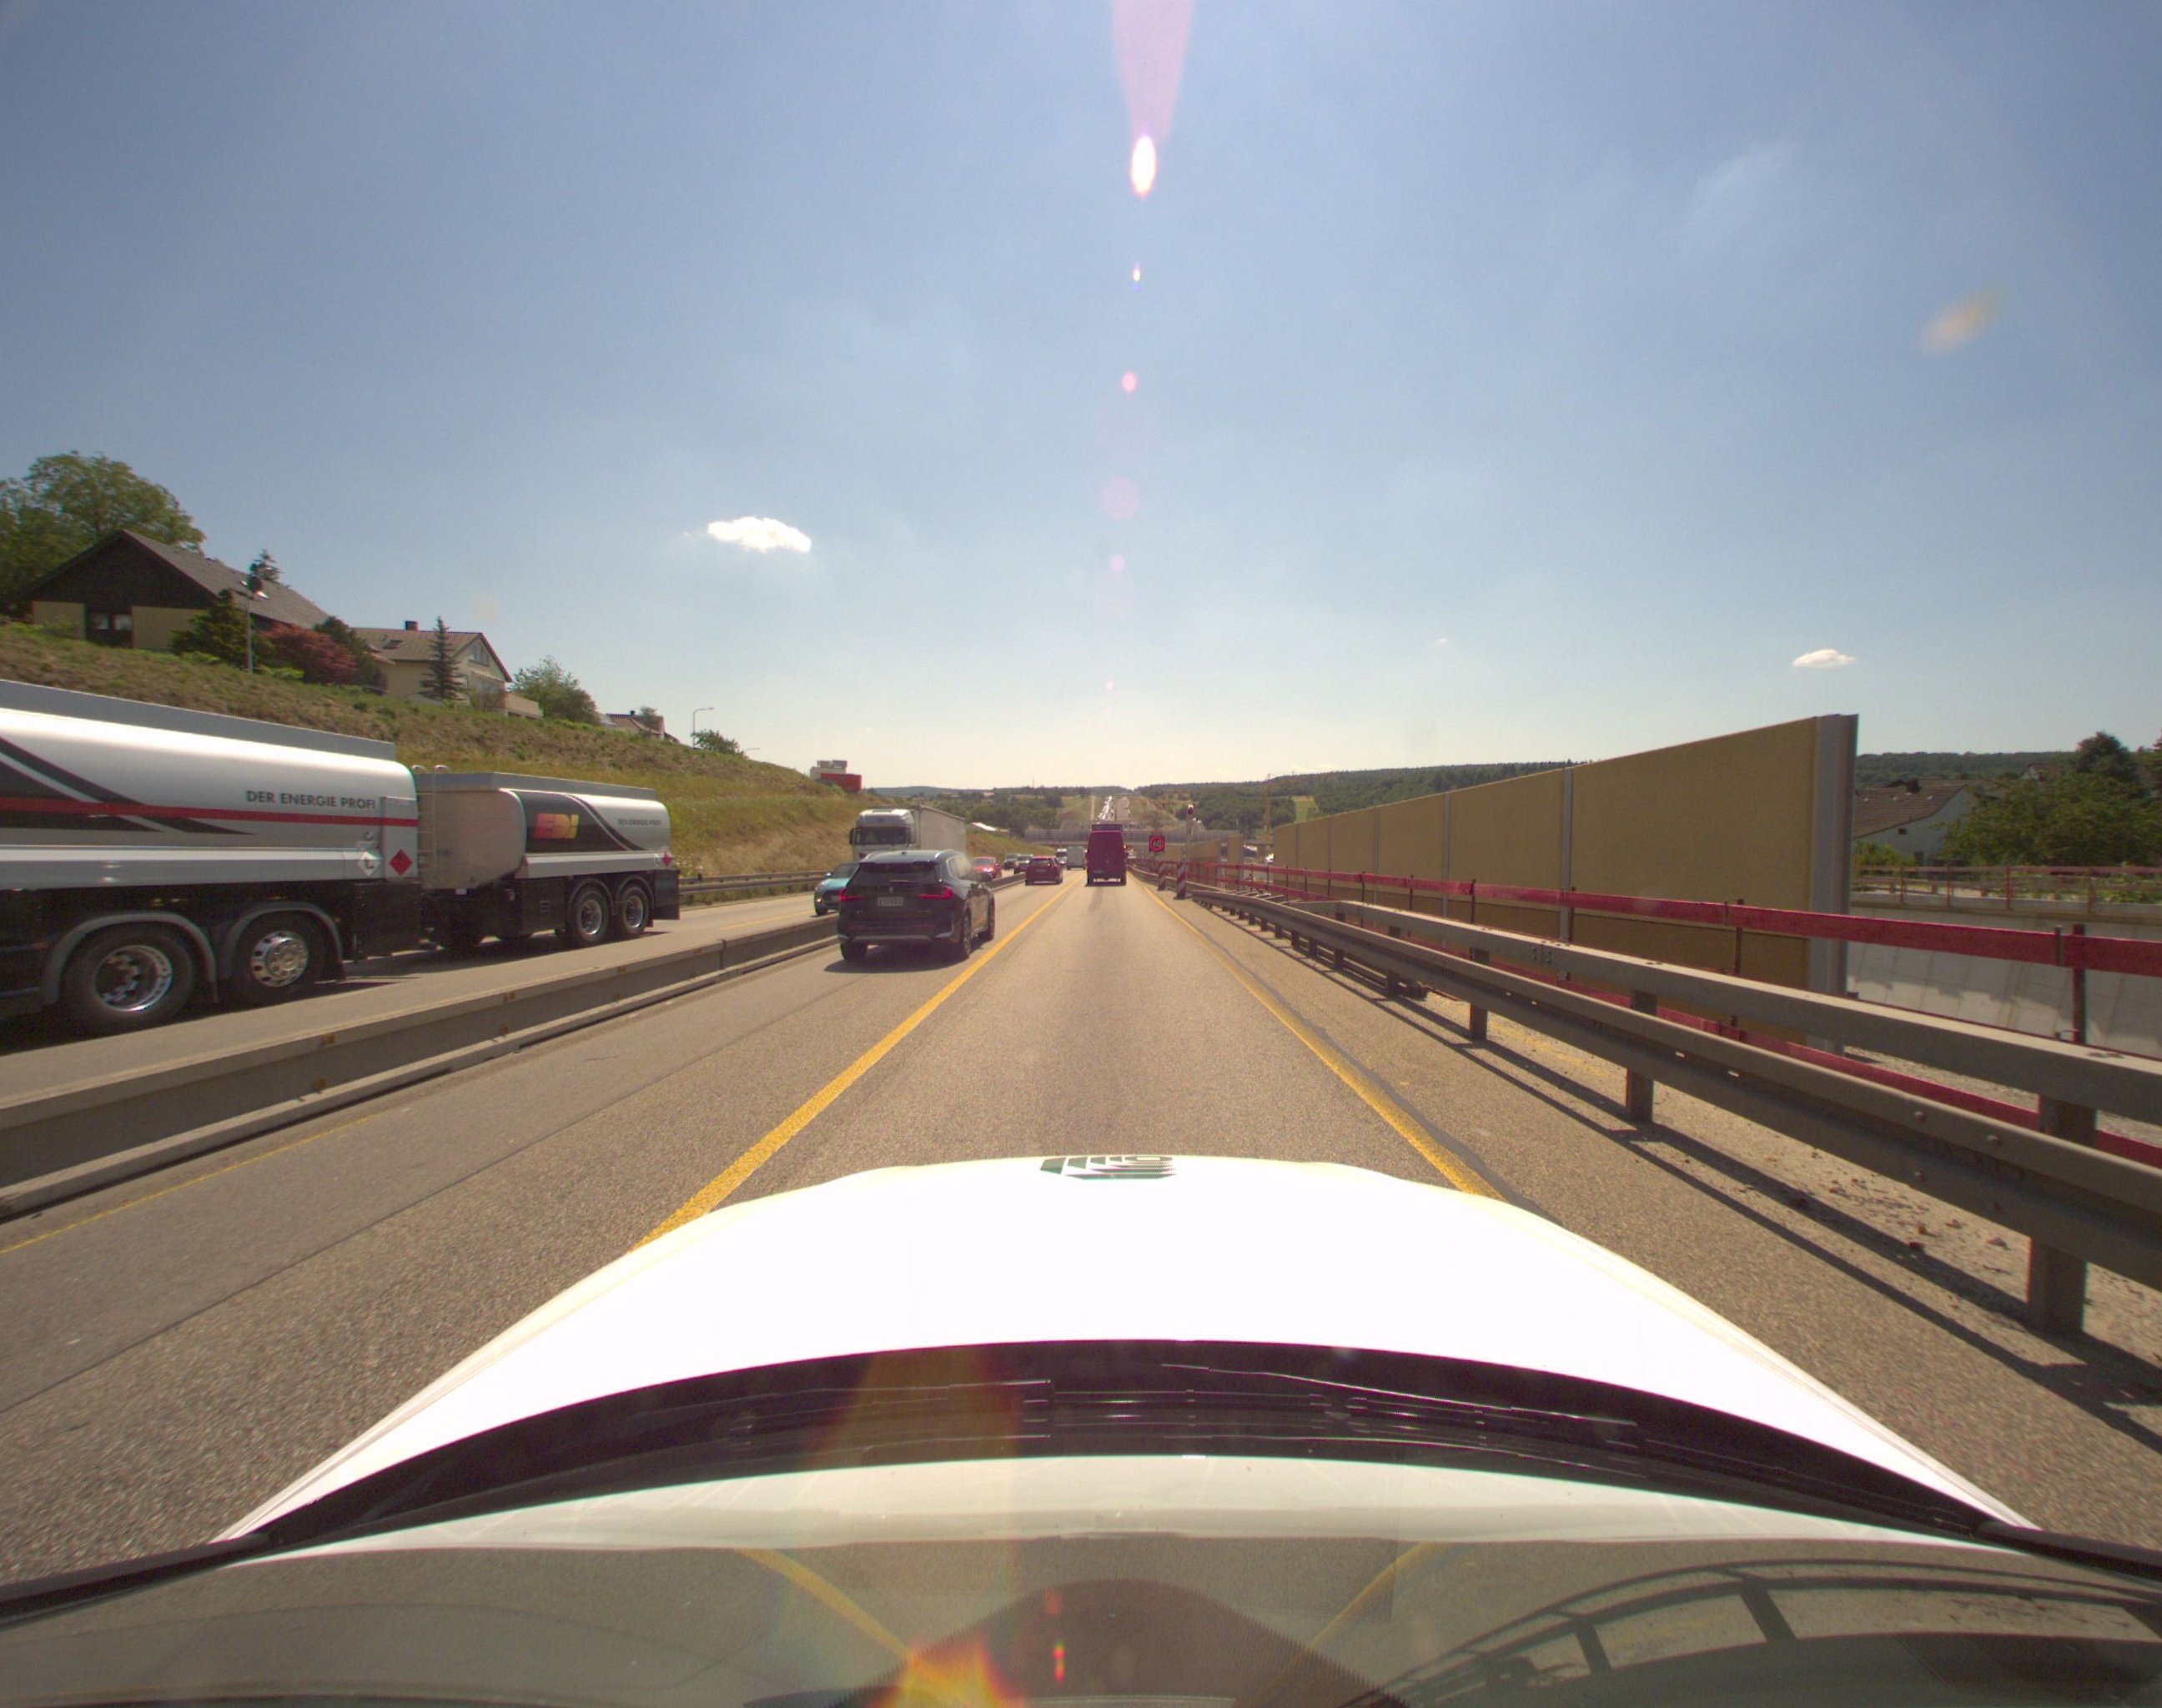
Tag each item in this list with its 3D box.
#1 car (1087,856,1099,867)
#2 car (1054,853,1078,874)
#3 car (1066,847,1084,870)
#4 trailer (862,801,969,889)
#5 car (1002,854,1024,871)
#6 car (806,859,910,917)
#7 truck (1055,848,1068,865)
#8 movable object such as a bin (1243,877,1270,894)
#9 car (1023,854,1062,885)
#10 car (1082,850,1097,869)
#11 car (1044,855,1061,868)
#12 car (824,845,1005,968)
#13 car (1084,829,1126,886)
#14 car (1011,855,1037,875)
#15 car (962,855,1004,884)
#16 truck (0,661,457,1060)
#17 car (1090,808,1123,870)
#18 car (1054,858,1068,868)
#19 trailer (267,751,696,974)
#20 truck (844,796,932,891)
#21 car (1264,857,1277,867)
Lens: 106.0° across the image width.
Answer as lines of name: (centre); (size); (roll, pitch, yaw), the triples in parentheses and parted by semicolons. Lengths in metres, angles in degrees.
car: (1.789, 1.142, 123.548); (1.769, 1.670, 4.030); (-1, 0, 2)
car: (-1.288, 0.796, 69.617); (1.833, 1.654, 4.165); (-2, 0, 1)
car: (-0.659, 0.460, 89.363); (1.769, 2.441, 4.207); (-1, 0, 2)
trailer: (-8.903, -0.443, 46.040); (2.775, 4.182, 13.982); (-1, 0, 1)
car: (-7.982, 0.960, 95.765); (2.031, 1.926, 5.122); (-2, 0, 1)
car: (-6.037, 0.870, 22.494); (1.659, 1.394, 3.906); (-1, 0, 1)
truck: (-4.649, 0.673, 195.048); (2.688, 4.050, 3.956); (-1, 0, 1)
movable object such as a bin: (29.543, 5.270, 137.286); (3.150, 2.446, 7.899); (1, -1, 2)
car: (-1.990, 0.769, 42.762); (1.770, 1.517, 4.206); (-1, 0, 0)
car: (1.138, 0.732, 107.122); (1.769, 2.330, 4.207); (-1, 0, 2)
car: (-3.606, 0.932, 105.146); (1.833, 1.654, 5.372); (-2, 0, 1)
car: (-2.475, 0.723, 13.305); (1.873, 1.618, 4.500); (-1, 0, 2)
car: (1.212, 0.197, 41.378); (1.981, 2.690, 4.625); (-1, 0, 2)
car: (-4.909, 0.973, 71.190); (1.826, 1.666, 4.415); (-1, -1, 1)
car: (-5.260, 0.830, 44.269); (1.663, 1.466, 4.001); (-1, 0, 2)
truck: (-9.856, 0.061, 6.426); (2.716, 3.142, 8.963); (-1, 0, 2)
car: (2.293, -1.233, 72.384); (2.611, 5.032, 10.400); (-1, 0, 2)
car: (-3.219, 1.396, 129.226); (1.948, 1.499, 5.091); (0, 0, 2)
trailer: (-9.629, 0.109, 14.216); (2.603, 3.001, 6.373); (-1, 0, 2)
truck: (-9.076, -0.461, 38.869); (2.735, 4.182, 5.290); (-1, 0, 1)
car: (40.554, 1.679, 174.296); (1.800, 2.014, 4.824); (-1, 0, 0)
